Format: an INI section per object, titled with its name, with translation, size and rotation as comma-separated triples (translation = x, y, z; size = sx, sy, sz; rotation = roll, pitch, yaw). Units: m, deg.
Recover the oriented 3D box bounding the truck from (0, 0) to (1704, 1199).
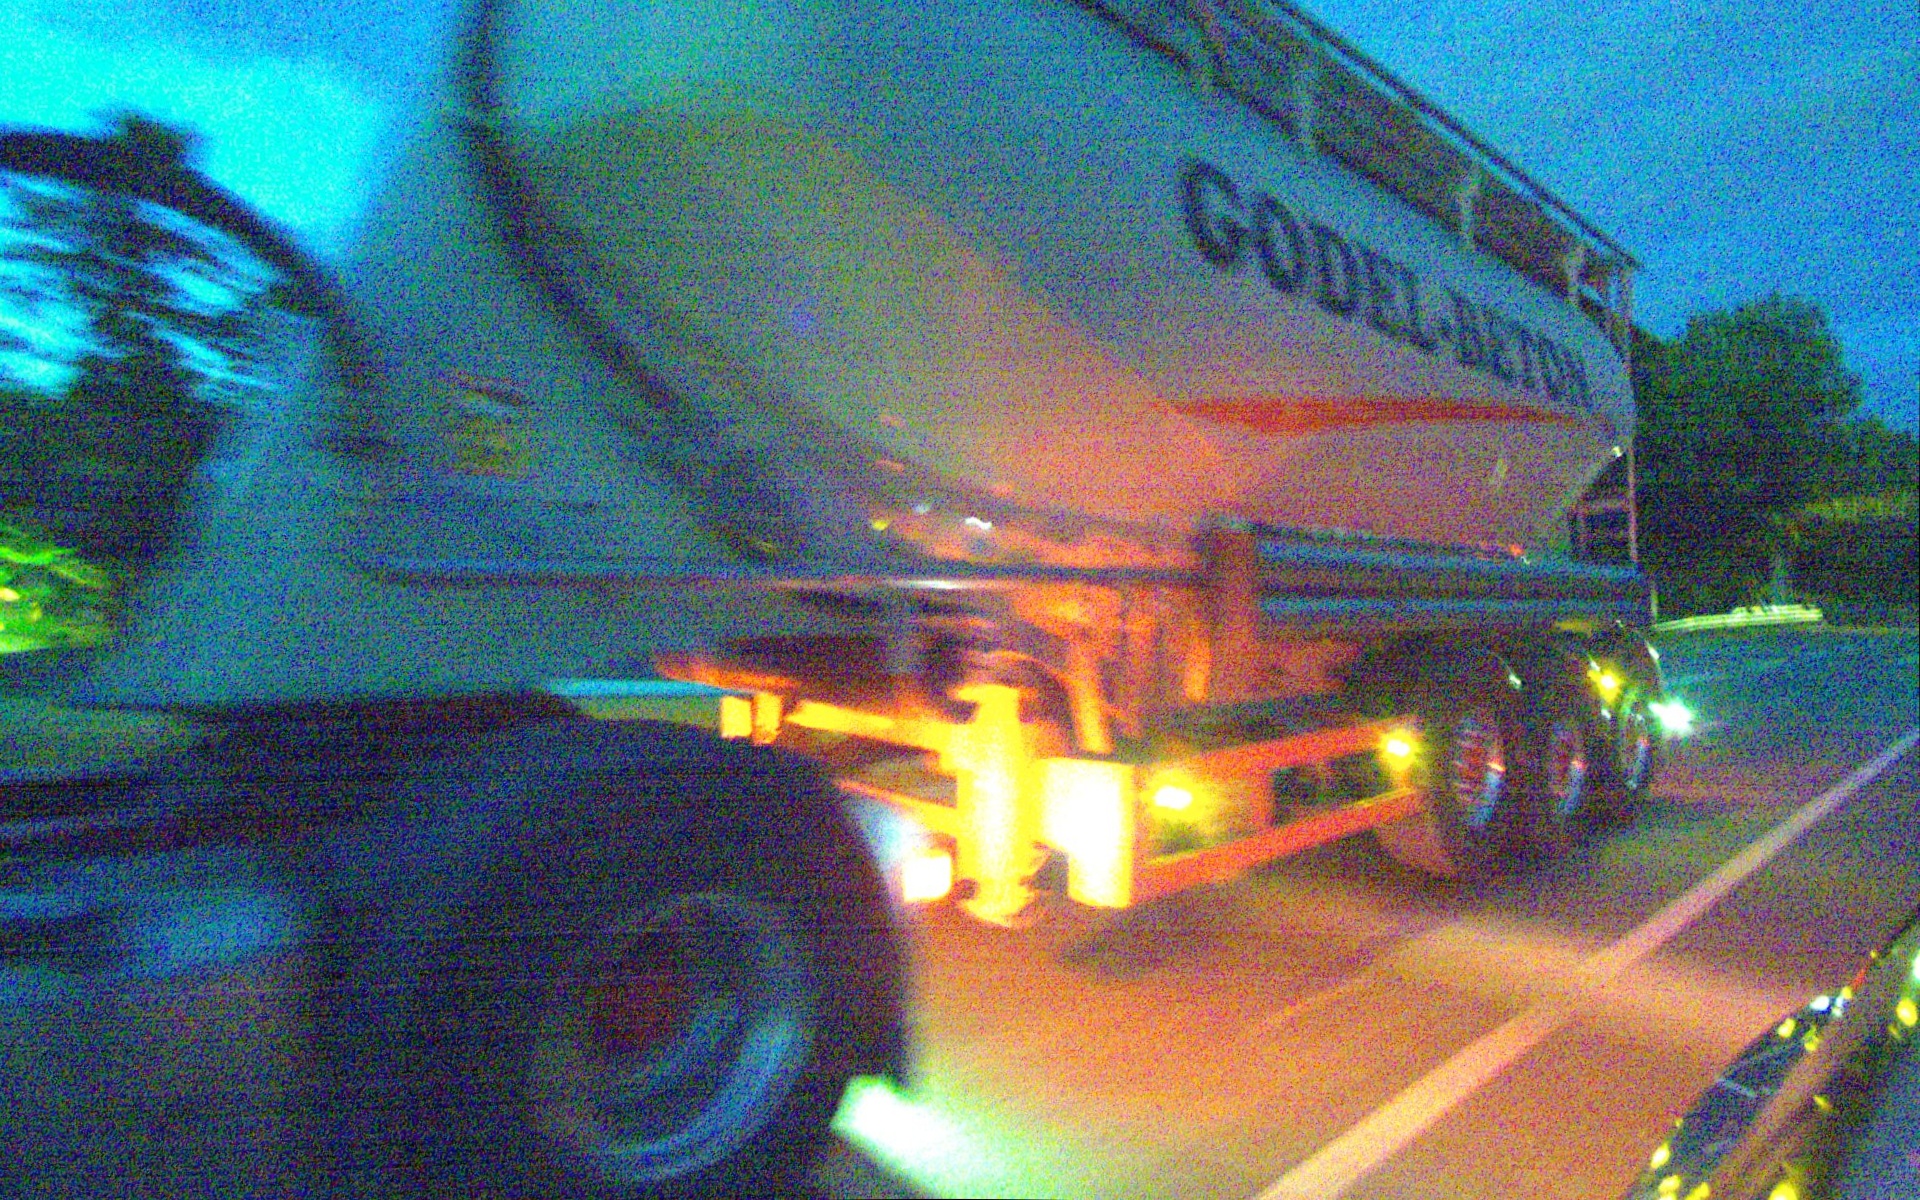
[truck]
translation = -0.442, -0.918, 3.941
size = 12.913, 4.157, 2.692
rotation = -1, 1, -41
